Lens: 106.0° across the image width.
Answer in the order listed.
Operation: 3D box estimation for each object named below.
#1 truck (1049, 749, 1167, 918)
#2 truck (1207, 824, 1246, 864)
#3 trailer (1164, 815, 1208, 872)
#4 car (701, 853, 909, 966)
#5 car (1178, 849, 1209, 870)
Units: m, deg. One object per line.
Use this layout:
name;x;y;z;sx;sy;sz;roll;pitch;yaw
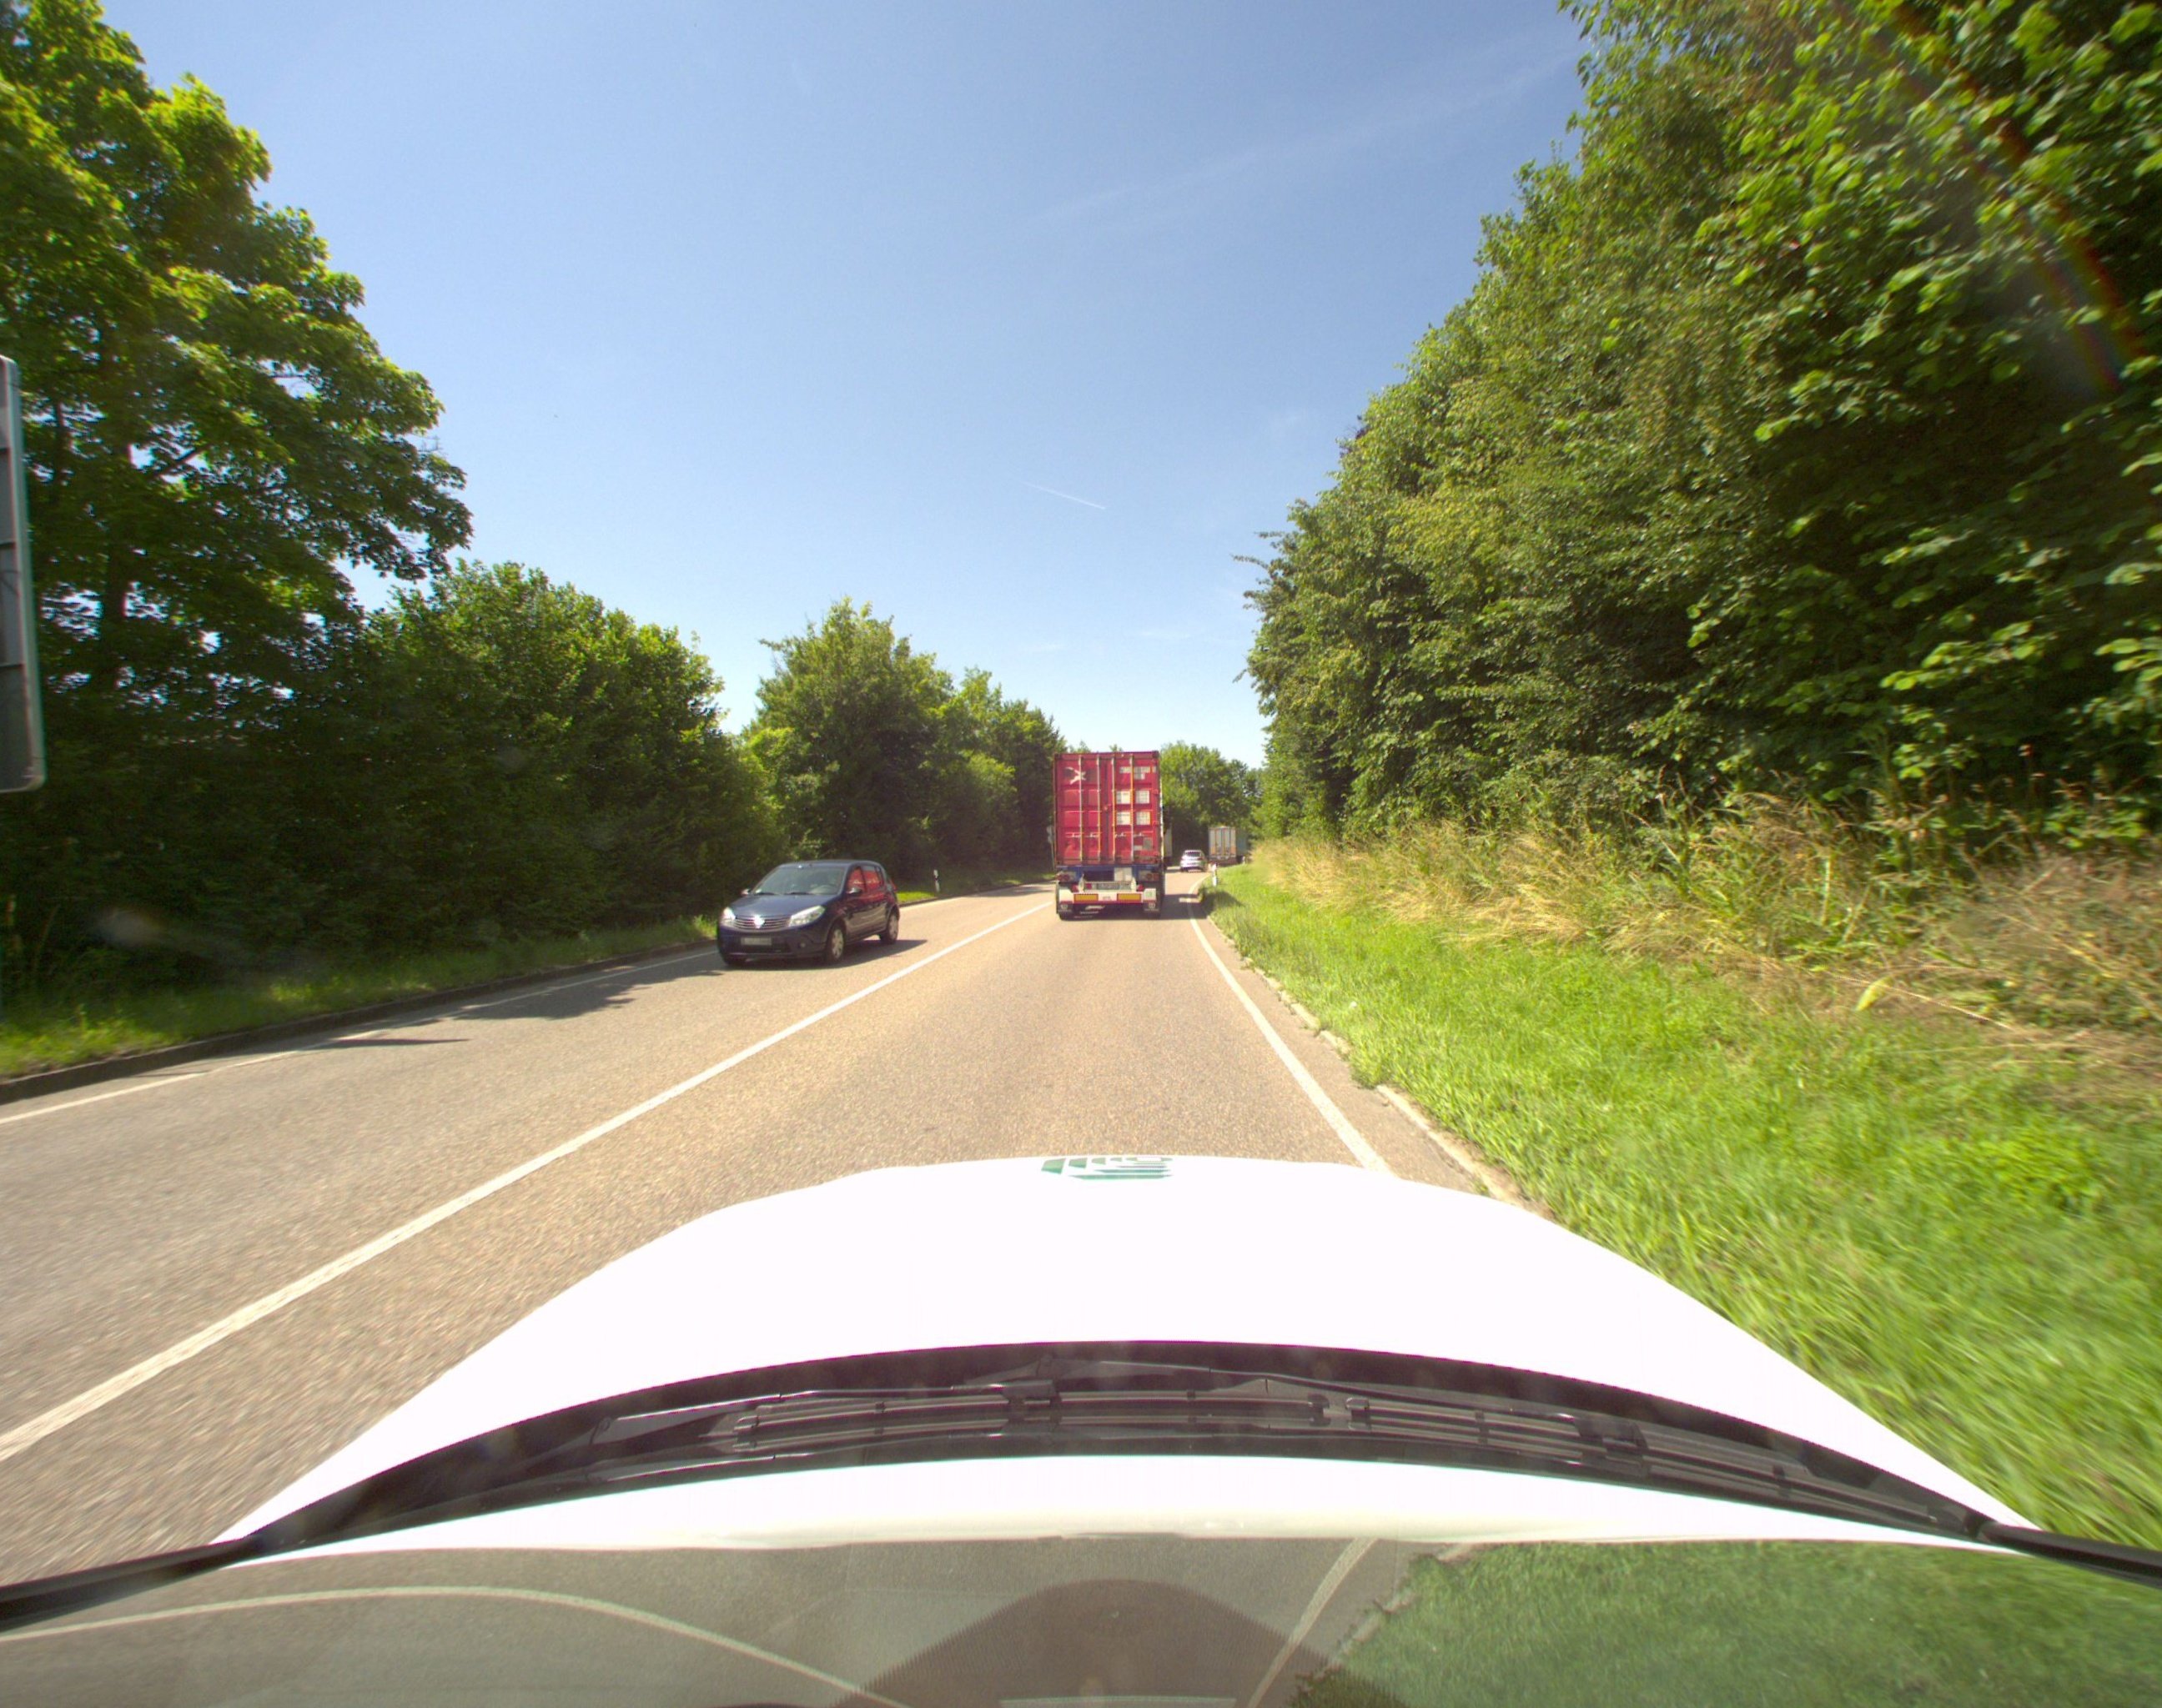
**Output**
truck;1.281;-0.438;25.206;2.634;3.806;13.380;-1;0;6
truck;15.180;-0.955;83.965;2.900;3.717;13.411;-1;0;14
trailer;8.677;-0.749;66.000;2.903;4.183;11.296;-1;0;10
car;-4.253;0.770;13.284;1.675;1.529;4.076;-1;0;5
car;8.666;0.397;62.442;1.819;1.433;4.016;-3;-1;14
